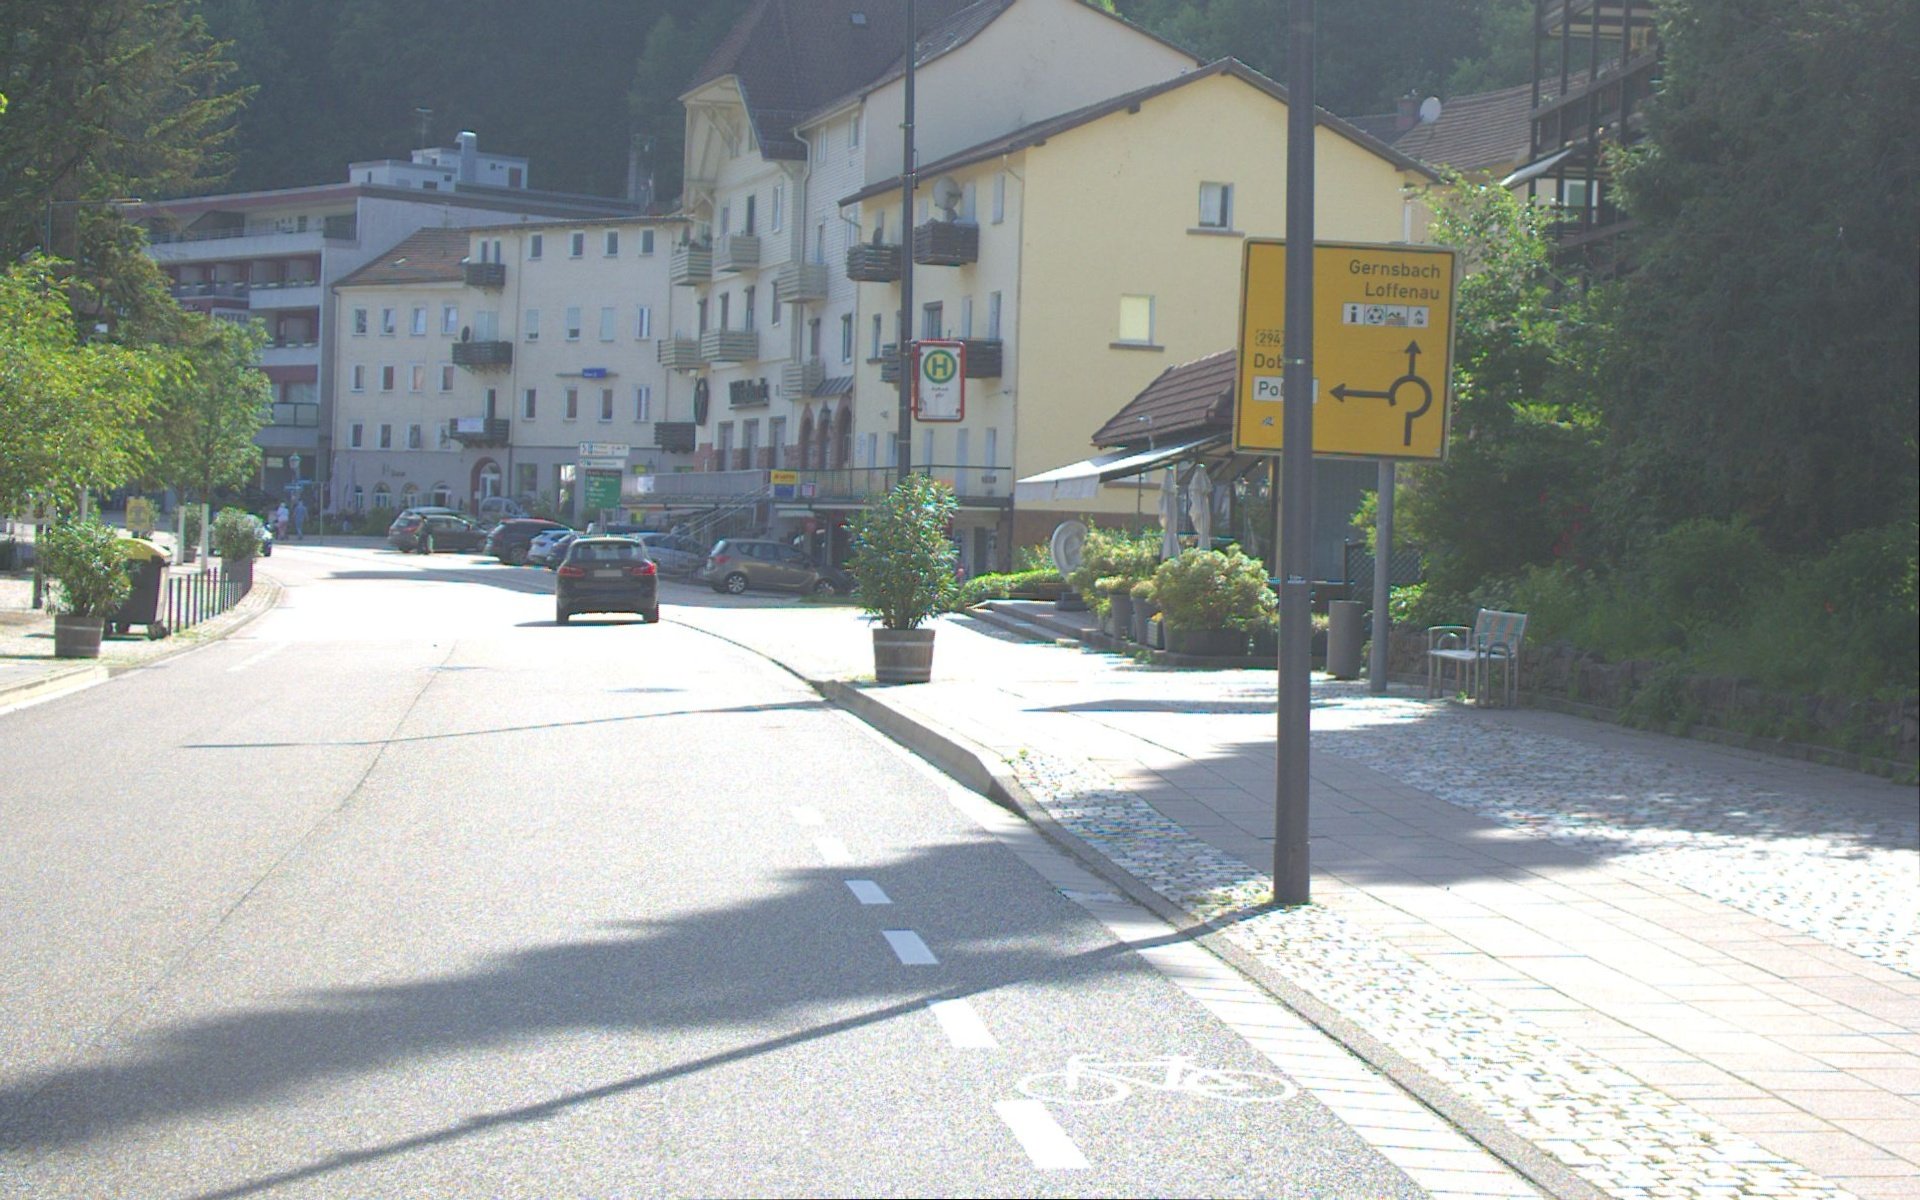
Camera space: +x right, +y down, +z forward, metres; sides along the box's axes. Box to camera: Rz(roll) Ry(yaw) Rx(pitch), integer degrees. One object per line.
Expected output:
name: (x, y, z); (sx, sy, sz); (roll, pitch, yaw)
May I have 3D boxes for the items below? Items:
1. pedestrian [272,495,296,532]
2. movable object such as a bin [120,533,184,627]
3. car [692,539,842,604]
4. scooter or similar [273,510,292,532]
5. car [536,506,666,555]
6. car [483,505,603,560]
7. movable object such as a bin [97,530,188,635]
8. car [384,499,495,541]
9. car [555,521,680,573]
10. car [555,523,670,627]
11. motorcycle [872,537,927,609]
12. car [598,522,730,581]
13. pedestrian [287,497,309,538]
pedestrian: (-29.600, -3.792, 150.601); (0.757, 1.588, 0.628); (2, 1, -38)
movable object such as a bin: (-12.218, -0.310, 52.019); (0.755, 1.337, 1.295); (4, 1, -8)
car: (-5.517, -0.814, 98.137); (3.858, 1.549, 1.761); (4, 1, -18)
scooter or similar: (-29.700, -3.470, 150.710); (0.596, 0.947, 0.474); (2, 2, -38)
car: (-12.858, -2.492, 123.071); (4.355, 1.456, 1.773); (3, 0, -13)
car: (-15.467, -2.493, 127.505); (4.082, 1.660, 1.773); (5, 1, -15)
movable object such as a bin: (-11.899, -0.263, 50.079); (1.078, 1.422, 1.377); (4, 1, -8)
car: (-20.817, -3.197, 137.555); (3.986, 1.656, 2.001); (0, 2, -26)
car: (-11.634, -1.805, 116.735); (3.908, 1.456, 1.737); (4, 1, -15)
car: (-6.170, -0.467, 60.794); (1.727, 1.569, 3.754); (3, 3, -9)
motorcycle: (-1.137, -0.519, 63.956); (0.697, 1.292, 2.213); (-1, 1, -9)
car: (-9.600, -1.569, 111.516); (3.908, 1.583, 1.775); (4, 1, -15)
pedestrian: (-29.188, -3.640, 151.595); (0.669, 1.722, 0.707); (2, 1, -38)
